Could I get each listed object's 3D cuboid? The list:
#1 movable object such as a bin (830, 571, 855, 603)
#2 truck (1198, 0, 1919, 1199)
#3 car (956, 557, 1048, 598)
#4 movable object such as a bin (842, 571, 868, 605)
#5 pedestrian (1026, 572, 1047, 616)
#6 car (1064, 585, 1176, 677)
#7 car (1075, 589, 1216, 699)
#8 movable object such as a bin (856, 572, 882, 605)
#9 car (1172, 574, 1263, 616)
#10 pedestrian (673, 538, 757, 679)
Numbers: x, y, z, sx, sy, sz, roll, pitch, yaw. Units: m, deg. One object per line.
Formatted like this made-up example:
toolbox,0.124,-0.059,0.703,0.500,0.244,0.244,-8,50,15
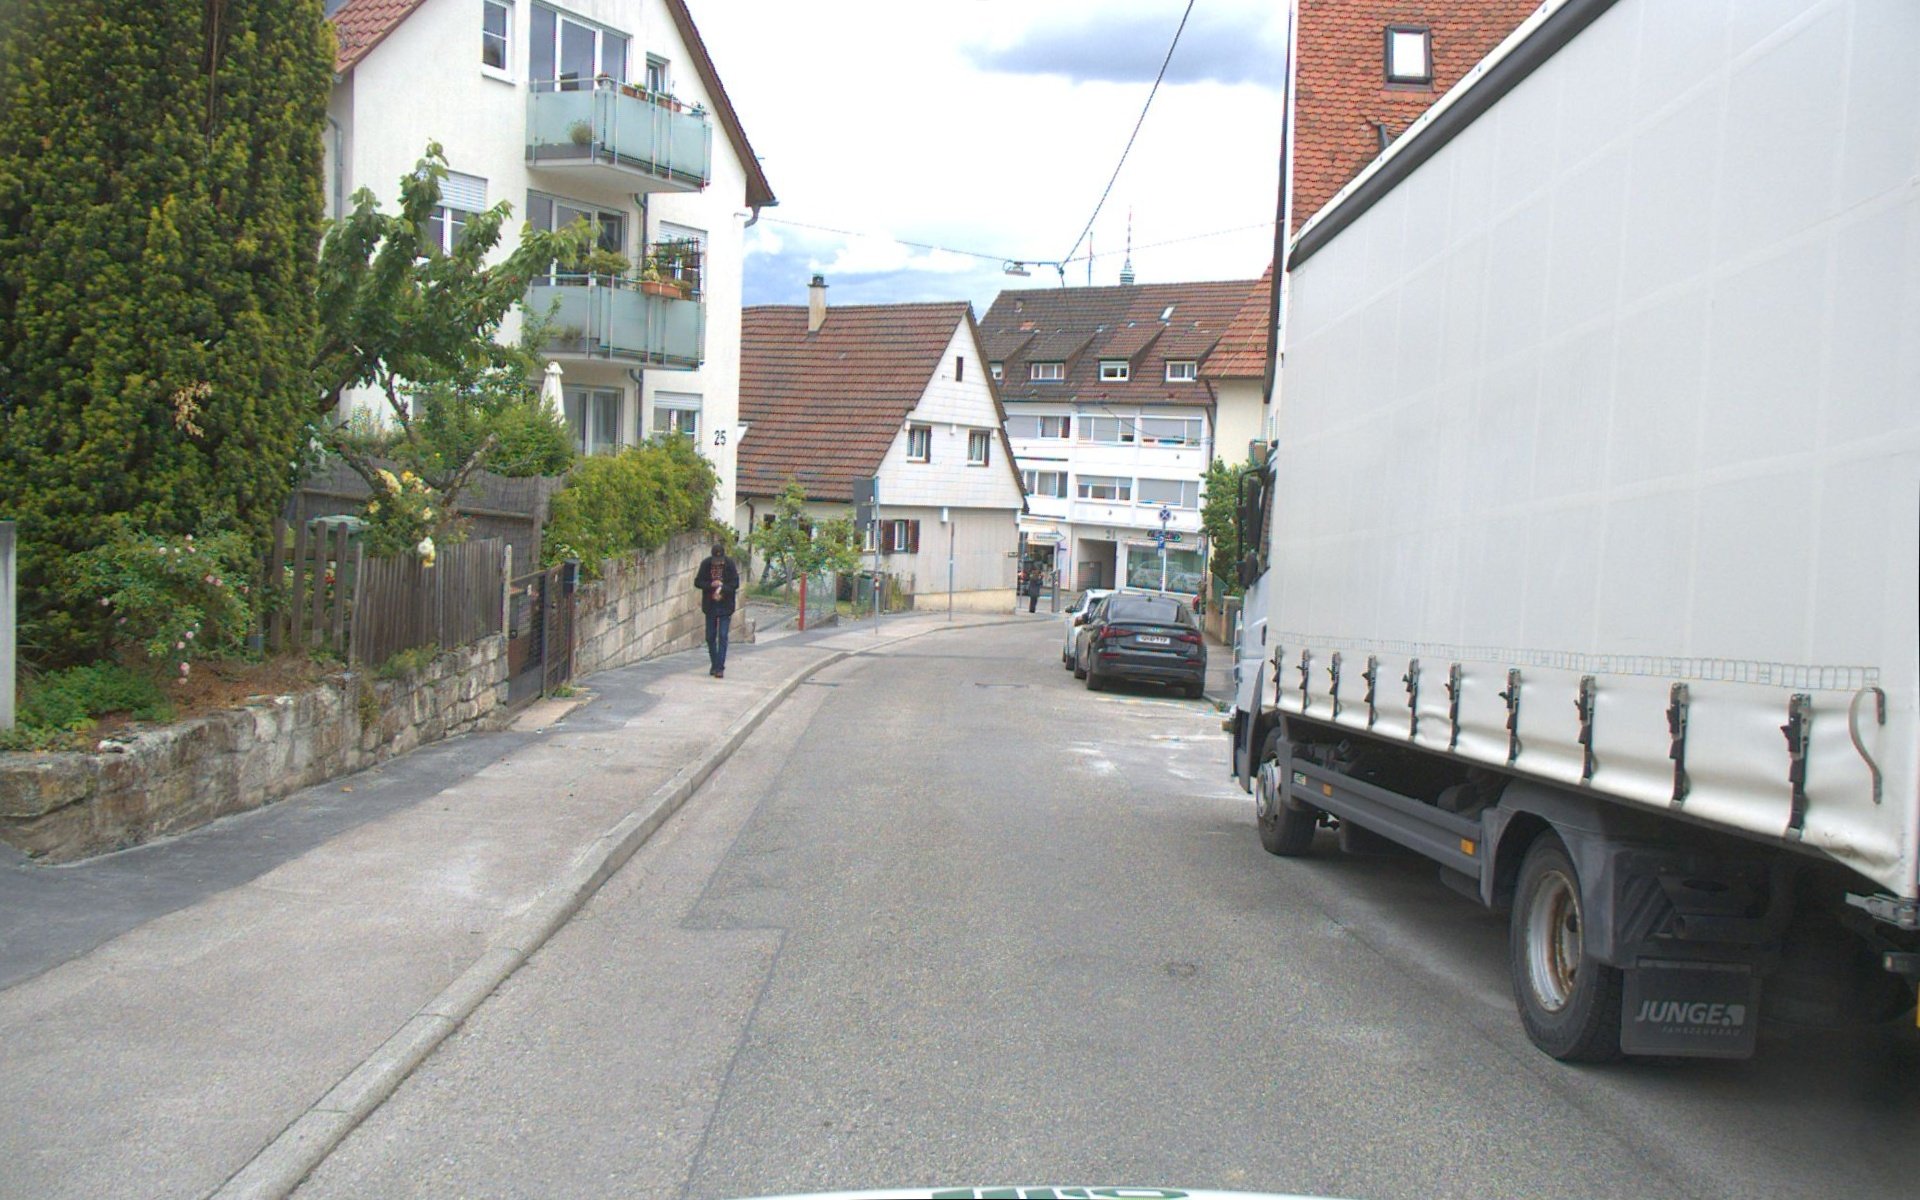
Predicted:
movable object such as a bin,-3.596,-0.400,50.475,0.486,0.892,0.451,7,1,34
truck,3.167,-0.313,7.133,2.622,3.659,8.102,3,1,-2
car,2.037,-1.117,80.975,4.297,1.810,1.934,5,3,44
movable object such as a bin,-3.180,-0.364,50.128,0.518,0.932,0.488,7,1,34
pedestrian,3.042,-0.245,65.616,0.634,1.713,0.603,3,2,-9
car,2.902,0.524,30.808,1.758,1.470,4.299,4,0,2
car,2.770,0.608,25.506,1.640,1.433,4.051,4,0,0
movable object such as a bin,-2.746,-0.342,49.862,0.518,0.899,0.488,7,1,34
car,11.249,-0.225,72.386,1.684,1.583,3.636,1,3,-44
pedestrian,-3.134,0.108,21.222,0.823,1.706,0.976,5,0,-2
